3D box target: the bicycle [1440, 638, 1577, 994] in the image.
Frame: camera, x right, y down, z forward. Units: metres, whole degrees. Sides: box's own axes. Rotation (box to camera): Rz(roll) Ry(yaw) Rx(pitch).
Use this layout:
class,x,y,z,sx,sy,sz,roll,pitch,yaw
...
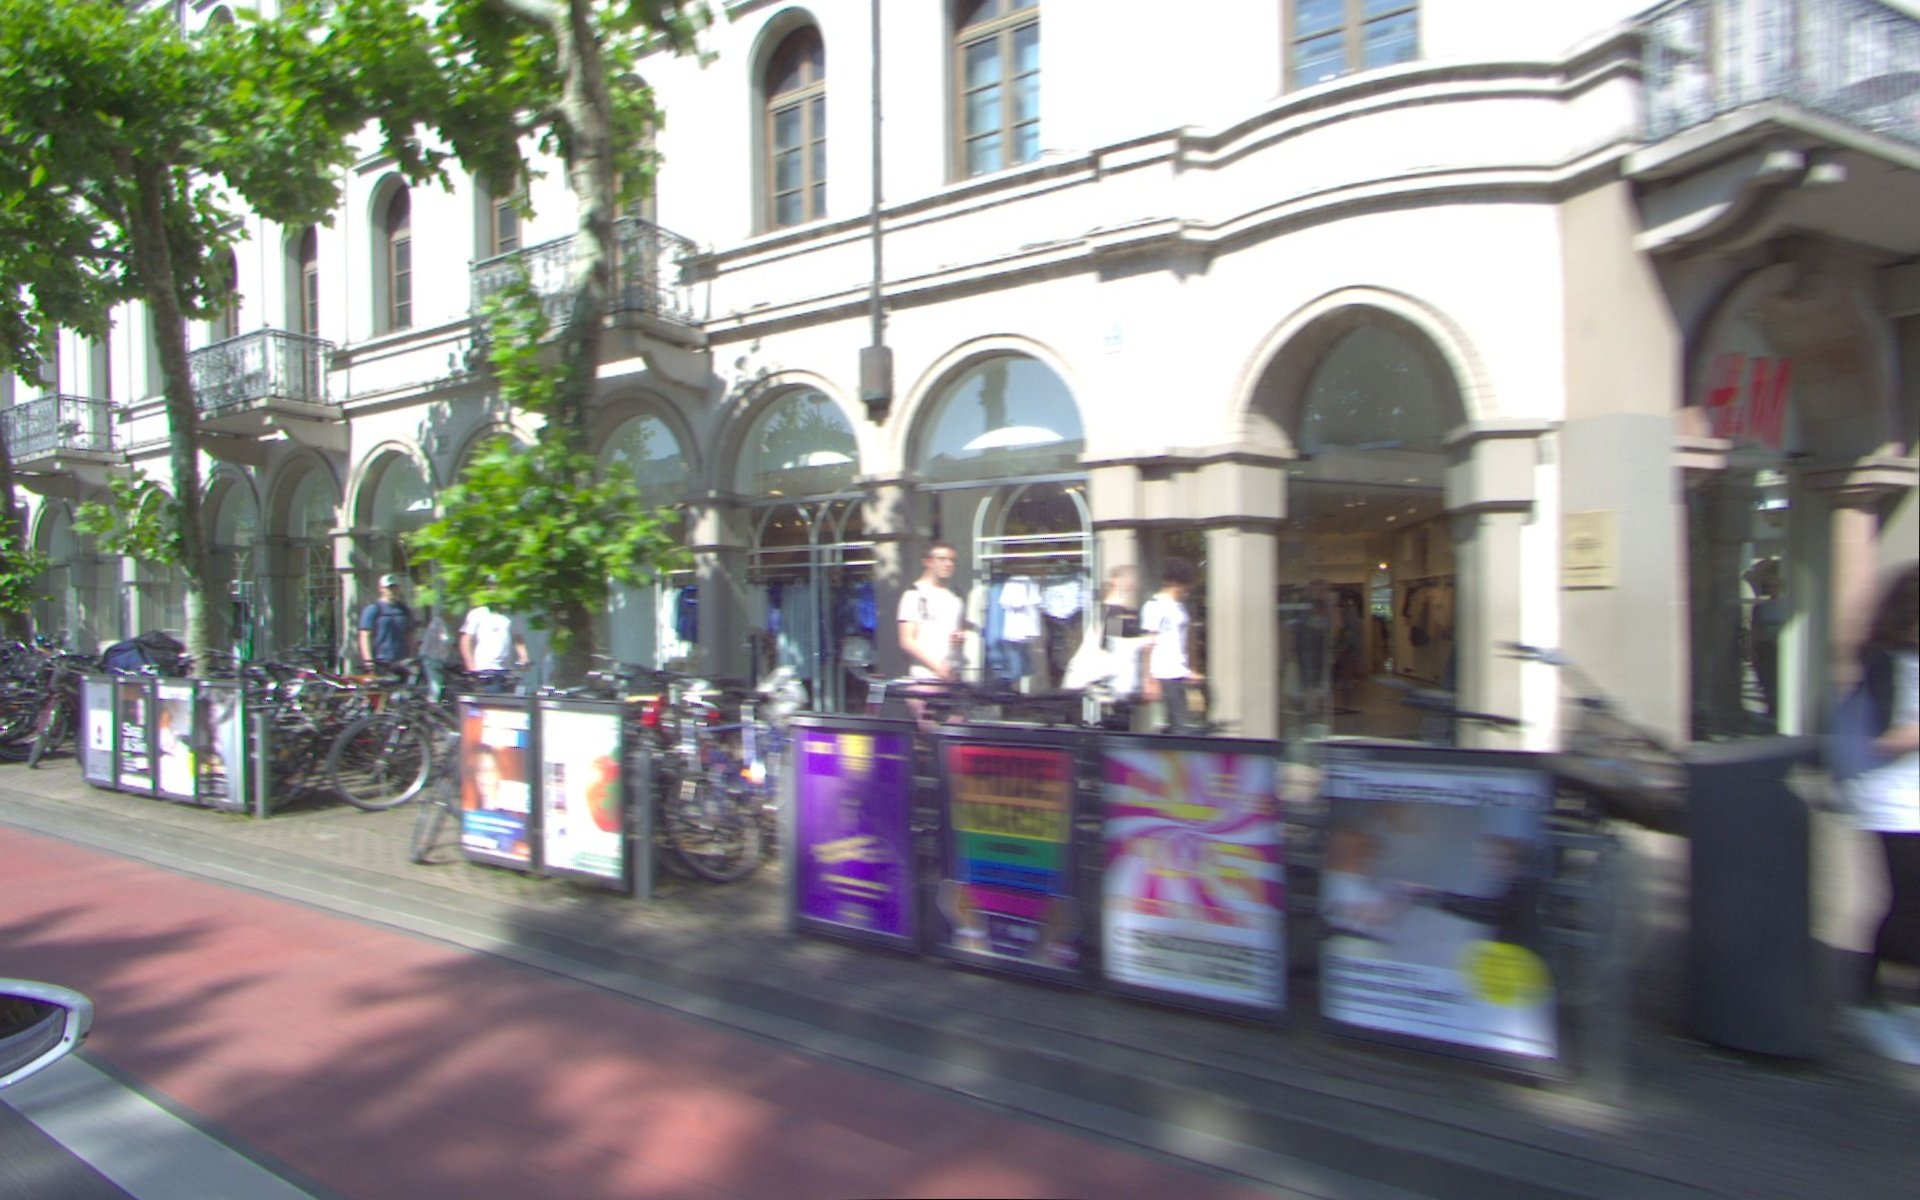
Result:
class,x,y,z,sx,sy,sz,roll,pitch,yaw
bicycle,2.324,0.783,4.262,0.419,1.212,1.528,-1,-1,29

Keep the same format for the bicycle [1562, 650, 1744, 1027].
class,x,y,z,sx,sy,sz,roll,pitch,yaw
bicycle,2.714,0.805,4.029,0.419,1.162,1.627,-1,-1,29

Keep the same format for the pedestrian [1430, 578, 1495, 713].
class,x,y,z,sx,sy,sz,roll,pitch,yaw
pedestrian,6.625,0.599,13.198,0.694,1.713,0.708,-1,-2,32

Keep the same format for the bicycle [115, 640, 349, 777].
class,x,y,z,sx,sy,sz,roll,pitch,yaw
bicycle,-6.937,0.986,9.642,0.583,1.162,1.751,-1,-1,29

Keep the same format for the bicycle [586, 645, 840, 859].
class,x,y,z,sx,sy,sz,roll,pitch,yaw
bicycle,-1.536,0.898,6.552,0.583,1.162,1.751,-1,-1,29

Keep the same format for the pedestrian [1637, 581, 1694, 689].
class,x,y,z,sx,sy,sz,roll,pitch,yaw
pedestrian,12.415,0.614,17.640,0.610,1.868,0.578,0,-2,8

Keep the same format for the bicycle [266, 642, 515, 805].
class,x,y,z,sx,sy,sz,roll,pitch,yaw
bicycle,-4.635,0.946,8.281,0.583,1.162,1.751,-1,-1,29

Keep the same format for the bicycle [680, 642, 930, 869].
class,x,y,z,sx,sy,sz,roll,pitch,yaw
bicycle,-0.882,0.856,6.196,0.583,1.162,1.751,-1,-1,29

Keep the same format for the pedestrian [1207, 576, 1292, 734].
class,x,y,z,sx,sy,sz,roll,pitch,yaw
pedestrian,3.203,0.608,11.122,0.612,1.689,0.685,1,-2,-25

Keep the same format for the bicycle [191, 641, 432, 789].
class,x,y,z,sx,sy,sz,roll,pitch,yaw
bicycle,-5.731,0.960,8.960,0.583,1.162,1.751,-1,-1,29

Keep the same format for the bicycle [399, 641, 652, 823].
class,x,y,z,sx,sy,sz,roll,pitch,yaw
bicycle,-3.169,0.905,7.483,0.589,1.162,1.751,-1,-1,29

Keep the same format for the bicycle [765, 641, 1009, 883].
class,x,y,z,sx,sy,sz,roll,pitch,yaw
bicycle,-0.355,0.846,5.923,0.583,1.173,1.751,-1,-1,29

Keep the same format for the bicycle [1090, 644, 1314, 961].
class,x,y,z,sx,sy,sz,roll,pitch,yaw
bicycle,1.206,0.805,4.701,0.583,1.162,1.751,-1,-1,29

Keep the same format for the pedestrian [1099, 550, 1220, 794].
class,x,y,z,sx,sy,sz,roll,pitch,yaw
pedestrian,1.587,0.556,7.917,0.765,1.805,0.719,-1,-2,29

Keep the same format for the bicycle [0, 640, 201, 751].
class,x,y,z,sx,sy,sz,roll,pitch,yaw
bicycle,-9.919,1.057,11.608,0.475,1.162,1.751,-1,-1,29

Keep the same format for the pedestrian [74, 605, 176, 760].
class,x,y,z,sx,sy,sz,roll,pitch,yaw
pedestrian,-8.757,0.849,10.506,0.657,1.557,0.604,-1,-2,29

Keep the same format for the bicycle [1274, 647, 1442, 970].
class,x,y,z,sx,sy,sz,roll,pitch,yaw
bicycle,1.876,0.819,4.594,0.515,1.162,1.654,-1,-1,29

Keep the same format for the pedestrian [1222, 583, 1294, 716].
class,x,y,z,sx,sy,sz,roll,pitch,yaw
pedestrian,3.912,0.644,13.176,0.612,1.689,0.685,1,-2,-25

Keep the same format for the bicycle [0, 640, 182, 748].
class,x,y,z,sx,sy,sz,roll,pitch,yaw
bicycle,-10.365,1.066,11.881,0.475,1.162,1.751,-1,-1,29

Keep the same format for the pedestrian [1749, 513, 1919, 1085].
class,x,y,z,sx,sy,sz,roll,pitch,yaw
pedestrian,3.094,0.605,3.262,0.612,1.706,0.577,1,-2,-21

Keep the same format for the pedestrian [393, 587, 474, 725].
class,x,y,z,sx,sy,sz,roll,pitch,yaw
pedestrian,-6.811,0.715,12.956,0.666,1.717,0.655,-1,-2,32

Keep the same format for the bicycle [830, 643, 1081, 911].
class,x,y,z,sx,sy,sz,roll,pitch,yaw
bicycle,0.054,0.831,5.399,0.583,1.162,1.751,-1,-1,29

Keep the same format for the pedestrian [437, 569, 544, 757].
class,x,y,z,sx,sy,sz,roll,pitch,yaw
pedestrian,-4.750,0.623,10.142,0.765,1.815,0.633,-1,-2,29

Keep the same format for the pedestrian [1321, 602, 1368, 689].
class,x,y,z,sx,sy,sz,roll,pitch,yaw
pedestrian,6.561,0.779,17.091,0.610,1.462,0.579,0,-2,6

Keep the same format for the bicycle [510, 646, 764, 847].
class,x,y,z,sx,sy,sz,roll,pitch,yaw
bicycle,-2.151,0.918,6.909,0.583,1.162,1.751,-1,-1,29

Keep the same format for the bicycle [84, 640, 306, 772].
class,x,y,z,sx,sy,sz,roll,pitch,yaw
bicycle,-7.552,0.998,9.978,0.511,1.162,1.701,-1,-1,29

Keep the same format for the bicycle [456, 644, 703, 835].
class,x,y,z,sx,sy,sz,roll,pitch,yaw
bicycle,-2.655,0.918,7.192,0.510,1.162,1.751,-1,-1,29

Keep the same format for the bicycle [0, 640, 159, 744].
class,x,y,z,sx,sy,sz,roll,pitch,yaw
bicycle,-10.901,1.081,12.190,0.475,1.162,1.751,-1,-1,29

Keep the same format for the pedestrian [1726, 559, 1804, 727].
class,x,y,z,sx,sy,sz,roll,pitch,yaw
pedestrian,9.325,0.498,11.624,0.614,1.868,0.786,-1,-2,34

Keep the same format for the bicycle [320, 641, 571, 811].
class,x,y,z,sx,sy,sz,roll,pitch,yaw
bicycle,-4.019,0.923,7.971,0.583,1.162,1.751,-1,-1,29

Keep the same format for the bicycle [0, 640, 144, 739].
class,x,y,z,sx,sy,sz,roll,pitch,yaw
bicycle,-11.403,1.096,12.570,0.475,1.162,1.751,-1,-1,29

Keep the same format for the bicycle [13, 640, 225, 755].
class,x,y,z,sx,sy,sz,roll,pitch,yaw
bicycle,-9.437,1.046,11.311,0.583,1.162,1.751,-1,-1,29

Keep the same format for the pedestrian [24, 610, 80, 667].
class,x,y,z,sx,sy,sz,roll,pitch,yaw
pedestrian,-20.798,0.884,22.948,0.715,1.268,0.591,1,-2,-15

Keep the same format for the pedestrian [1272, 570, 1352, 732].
class,x,y,z,sx,sy,sz,roll,pitch,yaw
pedestrian,4.012,0.578,11.421,0.612,1.786,0.605,1,-2,-25

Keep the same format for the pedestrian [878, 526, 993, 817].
class,x,y,z,sx,sy,sz,roll,pitch,yaw
pedestrian,-0.163,0.481,6.935,0.593,1.906,0.545,-1,-2,29

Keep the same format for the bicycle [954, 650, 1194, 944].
class,x,y,z,sx,sy,sz,roll,pitch,yaw
bicycle,0.649,0.857,5.038,0.583,1.162,1.751,-1,-1,29

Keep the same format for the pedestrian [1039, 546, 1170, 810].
class,x,y,z,sx,sy,sz,roll,pitch,yaw
pedestrian,1.044,0.539,7.179,0.742,1.762,0.674,-1,-2,29

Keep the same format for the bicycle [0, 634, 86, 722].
class,x,y,z,sx,sy,sz,roll,pitch,yaw
bicycle,-12.929,1.048,13.435,0.475,1.162,1.772,-1,-1,29

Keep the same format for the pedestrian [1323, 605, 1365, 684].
class,x,y,z,sx,sy,sz,roll,pitch,yaw
pedestrian,7.297,0.847,19.035,0.610,1.462,0.579,0,-2,6

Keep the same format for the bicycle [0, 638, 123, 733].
class,x,y,z,sx,sy,sz,roll,pitch,yaw
bicycle,-11.925,1.082,12.868,0.475,1.162,1.751,-1,-1,29

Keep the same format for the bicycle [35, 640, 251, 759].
class,x,y,z,sx,sy,sz,roll,pitch,yaw
bicycle,-8.879,1.034,10.969,0.583,1.162,1.751,-1,-1,29

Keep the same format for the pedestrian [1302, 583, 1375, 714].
class,x,y,z,sx,sy,sz,roll,pitch,yaw
pedestrian,5.057,0.648,13.402,0.612,1.689,0.685,1,-2,-25

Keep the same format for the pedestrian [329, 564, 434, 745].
class,x,y,z,sx,sy,sz,roll,pitch,yaw
pedestrian,-6.452,0.604,11.179,0.765,1.926,0.700,-1,-2,29

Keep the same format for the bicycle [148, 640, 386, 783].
class,x,y,z,sx,sy,sz,roll,pitch,yaw
bicycle,-6.361,0.973,9.302,0.583,1.162,1.751,-1,-1,29

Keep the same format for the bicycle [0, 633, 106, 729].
class,x,y,z,sx,sy,sz,roll,pitch,yaw
bicycle,-12.438,1.056,13.156,0.475,1.209,1.798,-1,-1,29

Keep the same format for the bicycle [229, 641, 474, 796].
class,x,y,z,sx,sy,sz,roll,pitch,yaw
bicycle,-5.161,0.947,8.616,0.583,1.162,1.751,-1,-1,29

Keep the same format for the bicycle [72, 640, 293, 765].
class,x,y,z,sx,sy,sz,roll,pitch,yaw
bicycle,-8.068,1.015,10.480,0.583,1.162,1.751,-1,-1,29
